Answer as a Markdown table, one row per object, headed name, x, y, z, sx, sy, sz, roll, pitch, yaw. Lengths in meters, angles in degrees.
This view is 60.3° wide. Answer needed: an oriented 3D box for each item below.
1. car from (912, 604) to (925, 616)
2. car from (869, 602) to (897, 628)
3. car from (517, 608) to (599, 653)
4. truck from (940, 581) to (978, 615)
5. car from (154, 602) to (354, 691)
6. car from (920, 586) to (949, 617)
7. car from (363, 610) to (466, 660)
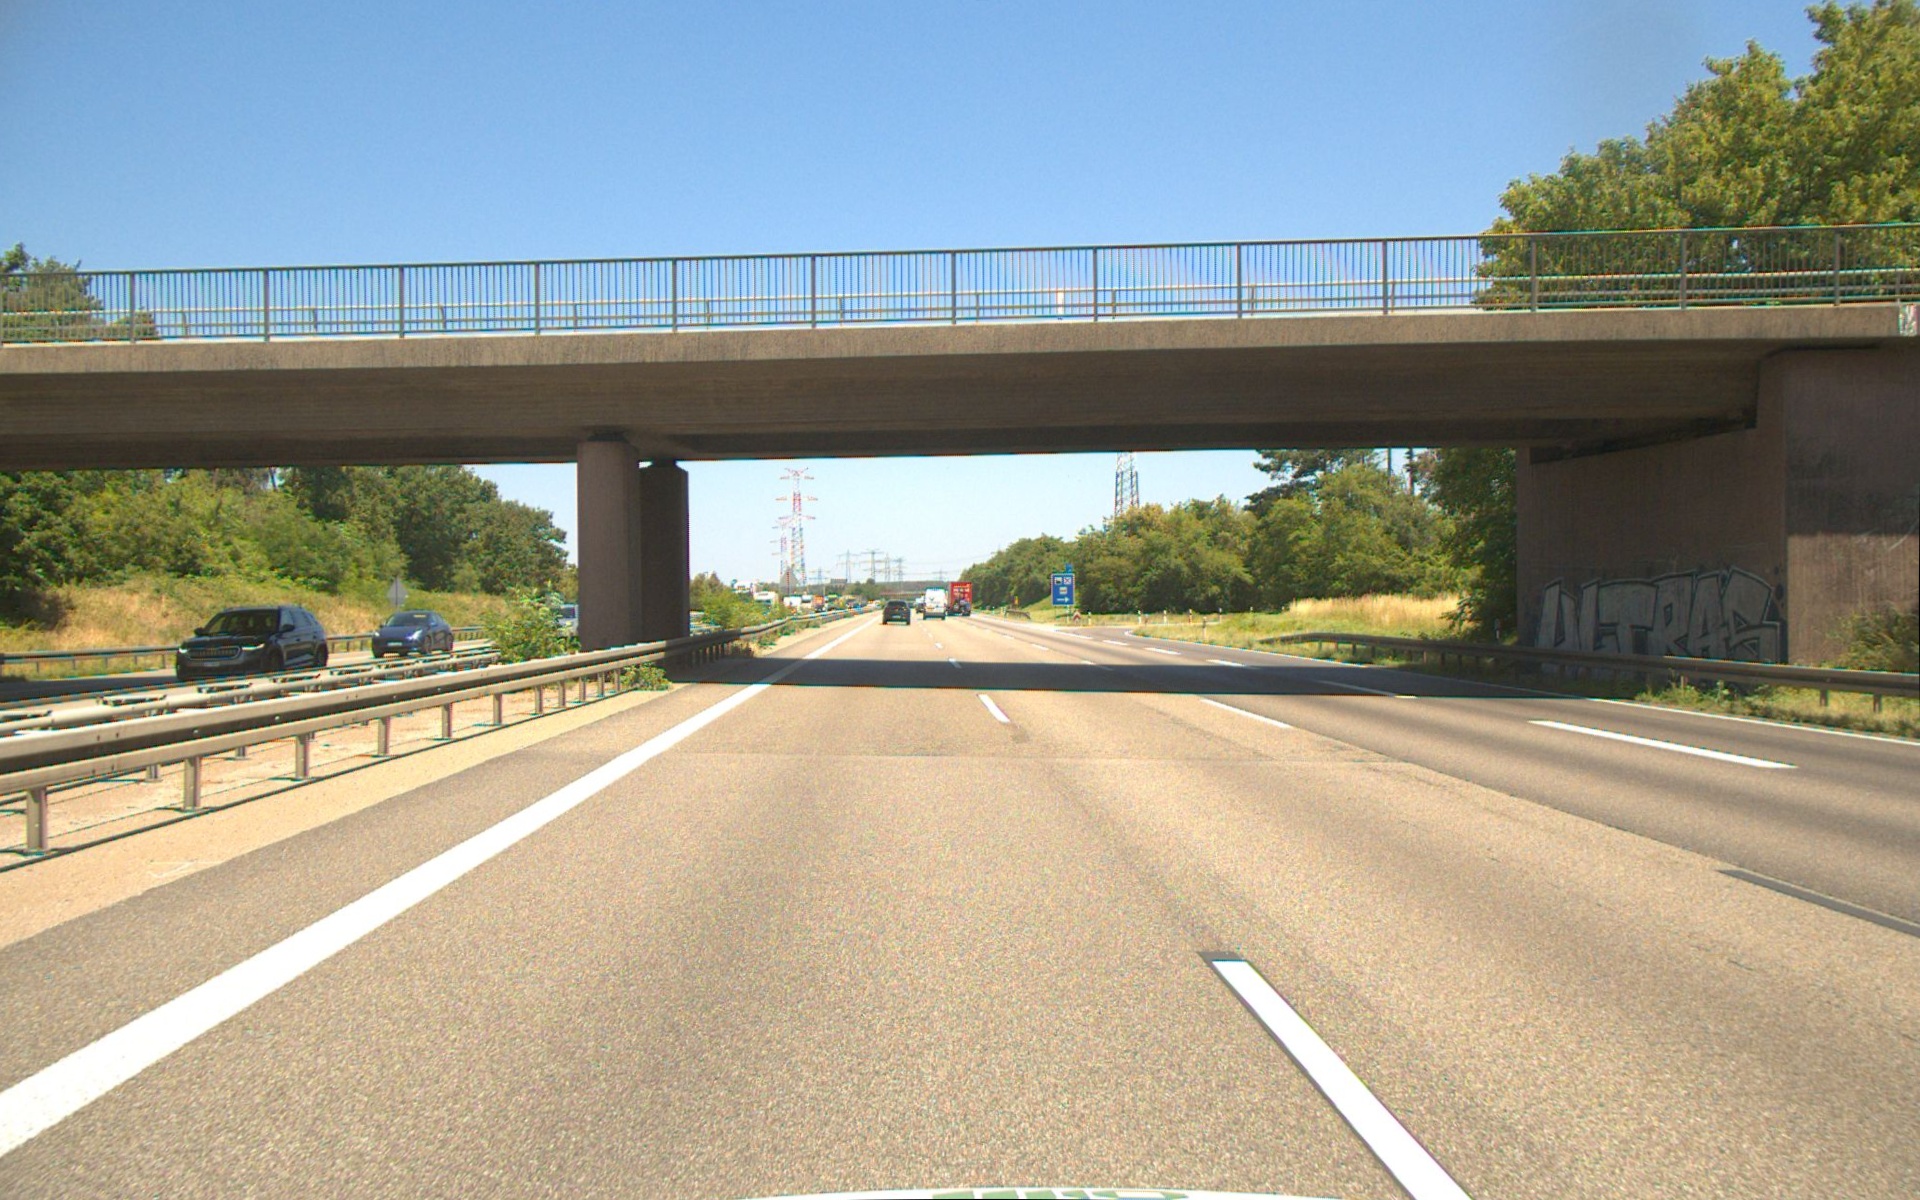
| name | x | y | z | sx | sy | sz | roll | pitch | yaw |
| --- | --- | --- | --- | --- | --- | --- | --- | --- | --- |
| car | -6.025 | 1.445 | 238.905 | 1.712 | 1.662 | 4.002 | 1 | 0 | -2 |
| car | -5.424 | 1.058 | 116.684 | 1.953 | 1.780 | 3.998 | 1 | 0 | -2 |
| car | -16.193 | 1.197 | 66.871 | 2.183 | 1.639 | 5.057 | -2 | 0 | -2 |
| truck | -0.169 | -0.196 | 205.045 | 4.244 | 4.010 | 16.071 | 1 | 0 | -2 |
| car | -14.775 | 0.921 | 34.965 | 2.183 | 1.639 | 5.057 | -2 | 0 | -2 |
| car | -2.381 | 0.150 | 154.408 | 2.568 | 2.807 | 6.093 | 1 | 0 | -2 |
| car | -19.777 | 1.243 | 60.183 | 2.183 | 1.639 | 5.057 | -2 | 0 | -2 |
